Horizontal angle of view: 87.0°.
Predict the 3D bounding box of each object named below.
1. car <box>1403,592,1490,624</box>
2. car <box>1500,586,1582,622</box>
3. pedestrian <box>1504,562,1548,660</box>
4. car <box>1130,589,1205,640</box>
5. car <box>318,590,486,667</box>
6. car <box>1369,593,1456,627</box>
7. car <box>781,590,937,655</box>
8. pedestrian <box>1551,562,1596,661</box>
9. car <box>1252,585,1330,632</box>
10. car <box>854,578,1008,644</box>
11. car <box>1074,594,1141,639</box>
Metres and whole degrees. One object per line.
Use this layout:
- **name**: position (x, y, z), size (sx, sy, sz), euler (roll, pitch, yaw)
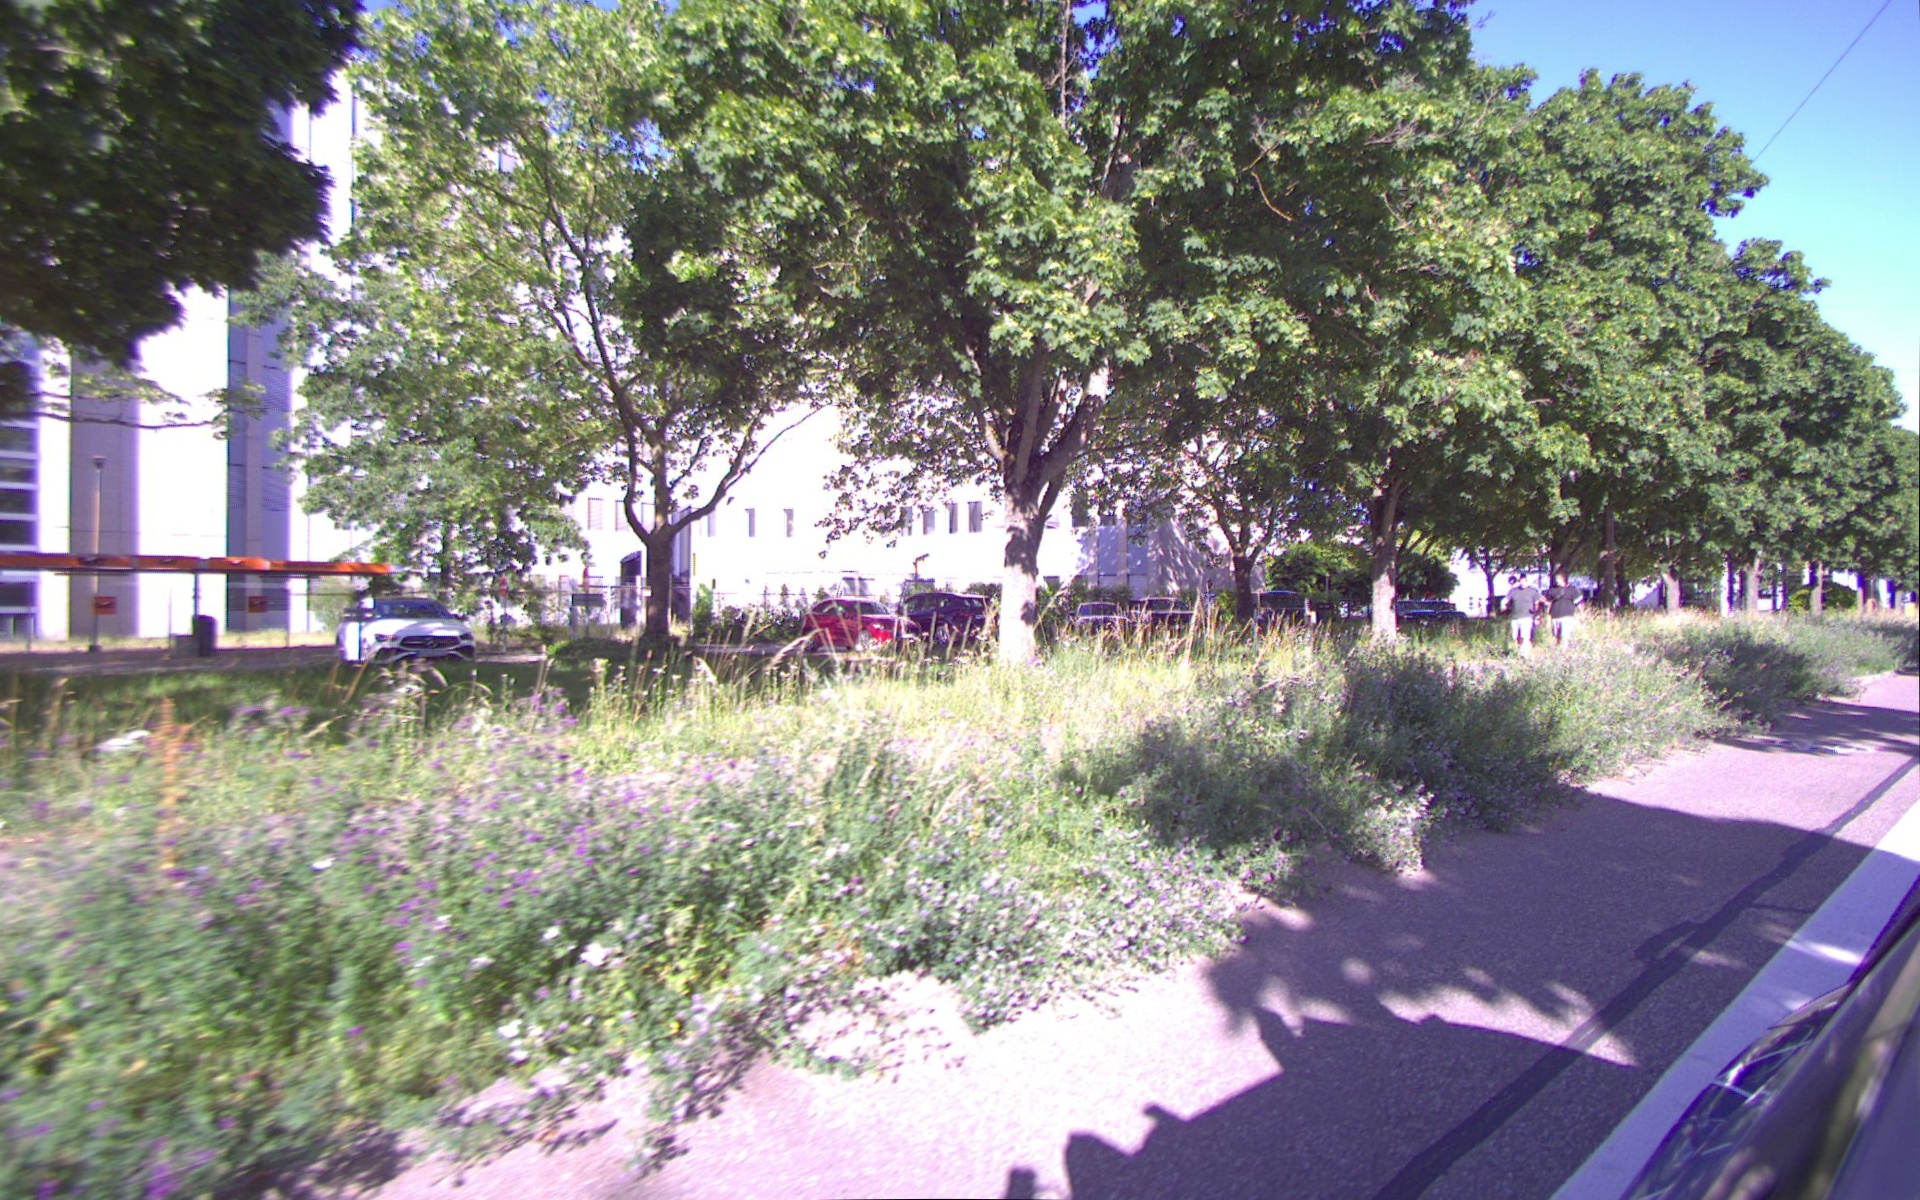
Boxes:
- **car**: position (24.067, 0.378, 50.233), size (1.811, 1.466, 4.553), euler (0, 0, -5)
- **car**: position (32.984, 0.216, 57.641), size (2.043, 1.900, 5.179), euler (-1, 0, 5)
- **pedestrian**: position (11.686, 0.222, 20.901), size (0.705, 1.955, 0.807), euler (-1, -1, 34)
- **car**: position (7.145, 0.469, 35.250), size (1.690, 1.659, 3.988), euler (0, 0, -1)
- **car**: position (-10.969, 0.484, 19.727), size (1.777, 1.287, 4.703), euler (1, 0, -43)
- **car**: position (21.490, 0.445, 48.275), size (1.811, 1.535, 4.553), euler (0, 0, -5)
- **car**: position (-2.769, 0.540, 27.181), size (4.226, 1.555, 1.740), euler (1, 1, 41)
- **pedestrian**: position (12.333, 0.226, 20.367), size (0.703, 1.942, 0.809), euler (-1, -1, 28)
- **car**: position (13.180, 0.320, 40.629), size (1.886, 1.774, 5.445), euler (-1, 0, 7)
- **car**: position (-0.876, 0.247, 28.590), size (4.330, 1.721, 1.740), euler (1, 1, 41)
- **car**: position (4.728, 0.519, 32.939), size (1.677, 1.358, 3.985), euler (-1, 0, 2)
